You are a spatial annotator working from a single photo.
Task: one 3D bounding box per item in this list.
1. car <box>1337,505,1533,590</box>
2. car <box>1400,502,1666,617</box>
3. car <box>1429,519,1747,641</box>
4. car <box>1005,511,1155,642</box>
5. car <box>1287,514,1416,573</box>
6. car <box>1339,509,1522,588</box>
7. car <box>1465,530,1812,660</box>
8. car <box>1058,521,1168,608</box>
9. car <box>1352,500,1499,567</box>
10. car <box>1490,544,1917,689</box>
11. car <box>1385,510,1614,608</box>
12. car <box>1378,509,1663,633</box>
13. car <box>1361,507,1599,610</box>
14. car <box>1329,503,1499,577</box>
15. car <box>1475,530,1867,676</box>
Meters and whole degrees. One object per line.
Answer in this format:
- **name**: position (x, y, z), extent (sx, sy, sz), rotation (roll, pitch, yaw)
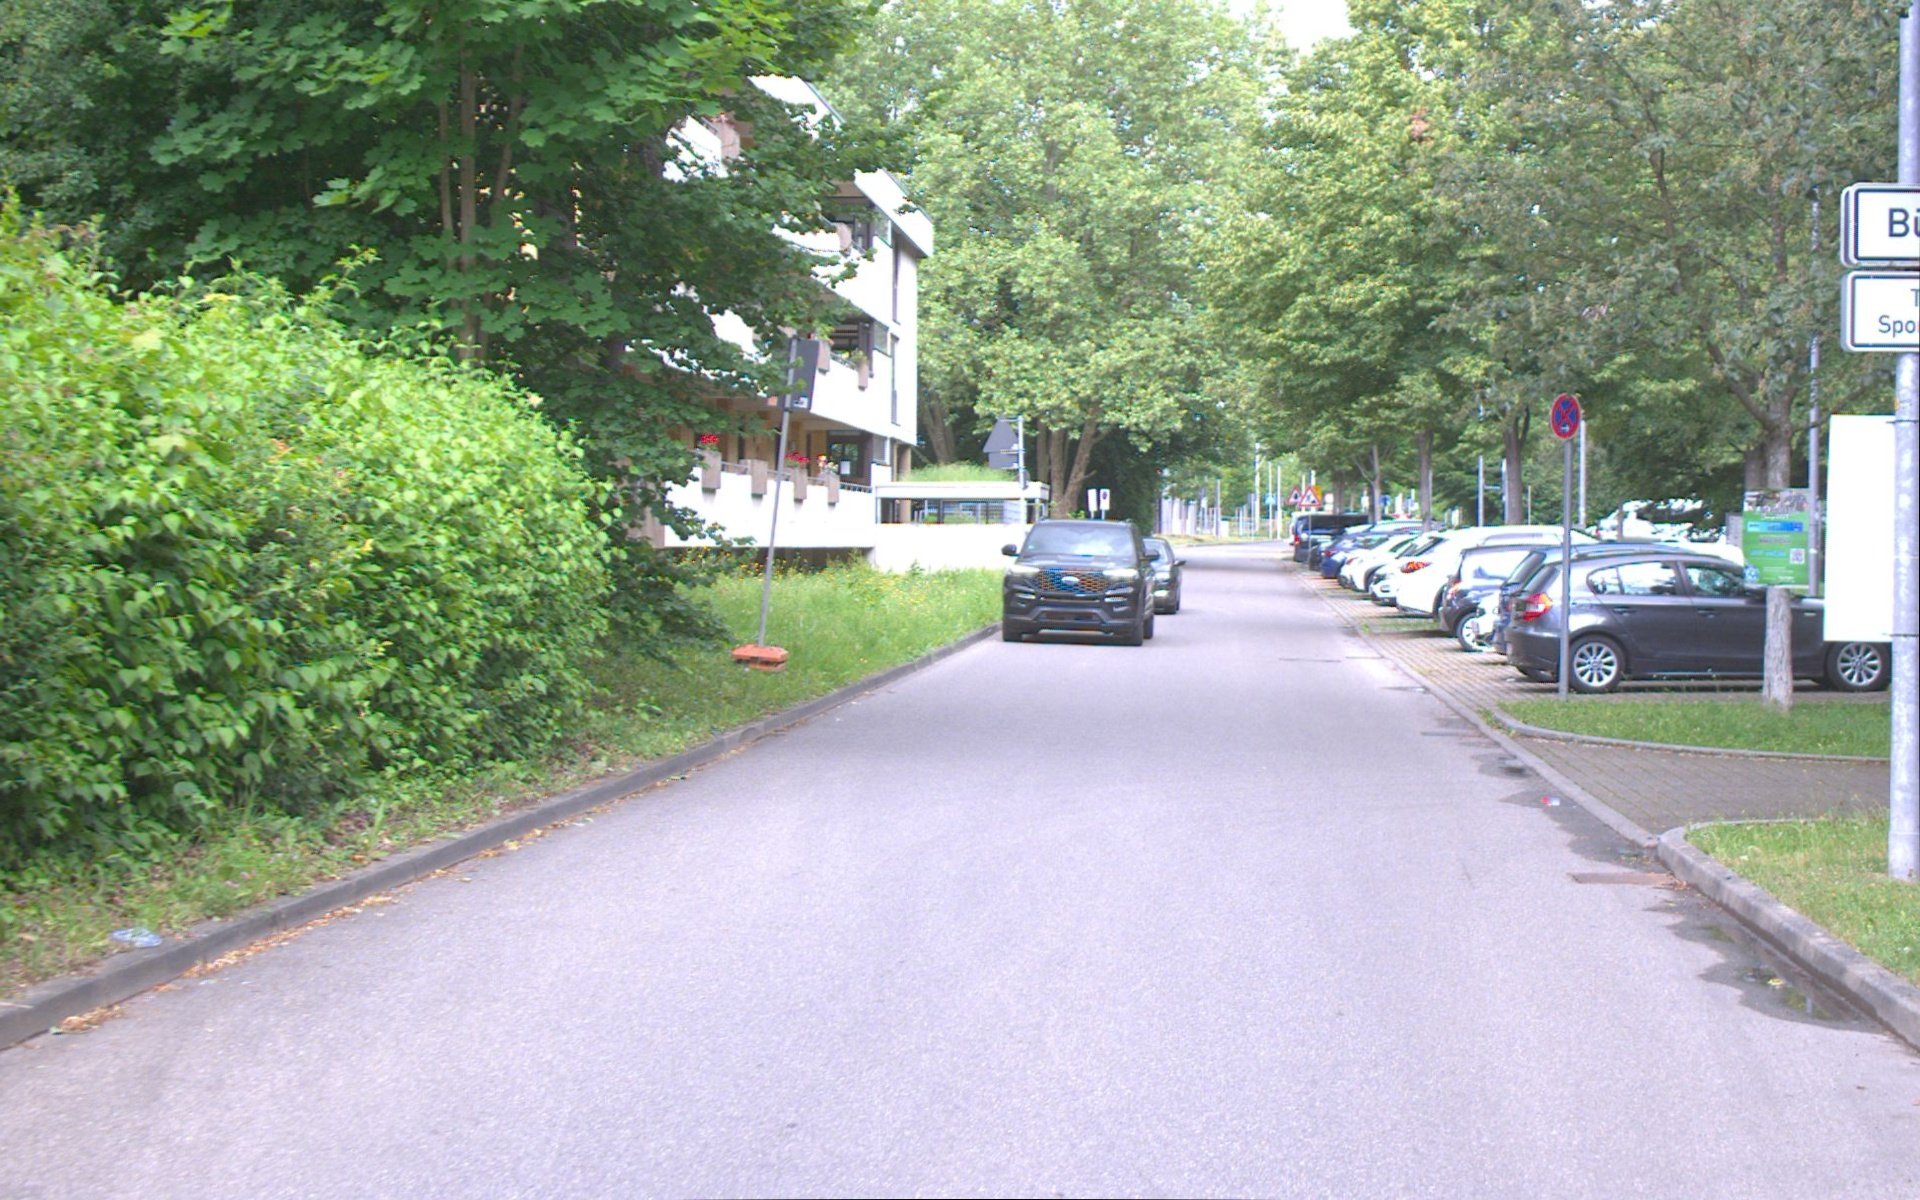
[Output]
- **car**: position (10.559, -1.177, 76.587), extent (4.063, 1.681, 1.822), rotation (-3, 1, 2)
- **car**: position (9.474, -0.679, 57.030), extent (4.063, 1.681, 1.822), rotation (-3, 1, 2)
- **car**: position (8.698, -0.295, 47.860), extent (4.063, 1.483, 1.822), rotation (-3, 1, 2)
- **car**: position (1.764, -0.368, 49.068), extent (1.969, 1.741, 4.338), rotation (1, 1, 4)
- **car**: position (13.149, -1.904, 115.634), extent (4.063, 1.764, 1.822), rotation (-3, 1, 2)
- **car**: position (11.214, -1.242, 82.124), extent (4.063, 1.681, 1.822), rotation (-3, 1, 2)
- **car**: position (8.469, -0.080, 43.184), extent (4.063, 1.563, 1.822), rotation (0, 1, 4)
- **car**: position (2.955, -0.708, 65.717), extent (1.969, 1.570, 4.338), rotation (1, 1, 4)
- **car**: position (13.740, -1.972, 101.666), extent (4.063, 1.764, 1.822), rotation (-3, 1, 2)
- **car**: position (7.623, 0.176, 35.590), extent (4.063, 1.429, 2.000), rotation (0, 0, 4)
- **car**: position (10.320, -0.796, 65.987), extent (4.063, 1.681, 1.822), rotation (-3, 1, 2)
- **car**: position (8.599, -0.462, 53.002), extent (4.063, 1.681, 1.822), rotation (-3, 1, 2)
- **car**: position (9.569, -0.774, 63.478), extent (4.063, 1.681, 1.822), rotation (-3, 1, 2)
- **car**: position (11.530, -1.529, 87.527), extent (4.063, 1.681, 1.822), rotation (-3, 1, 2)
- **car**: position (7.861, 0.041, 38.299), extent (4.063, 1.563, 1.822), rotation (0, 0, 4)
